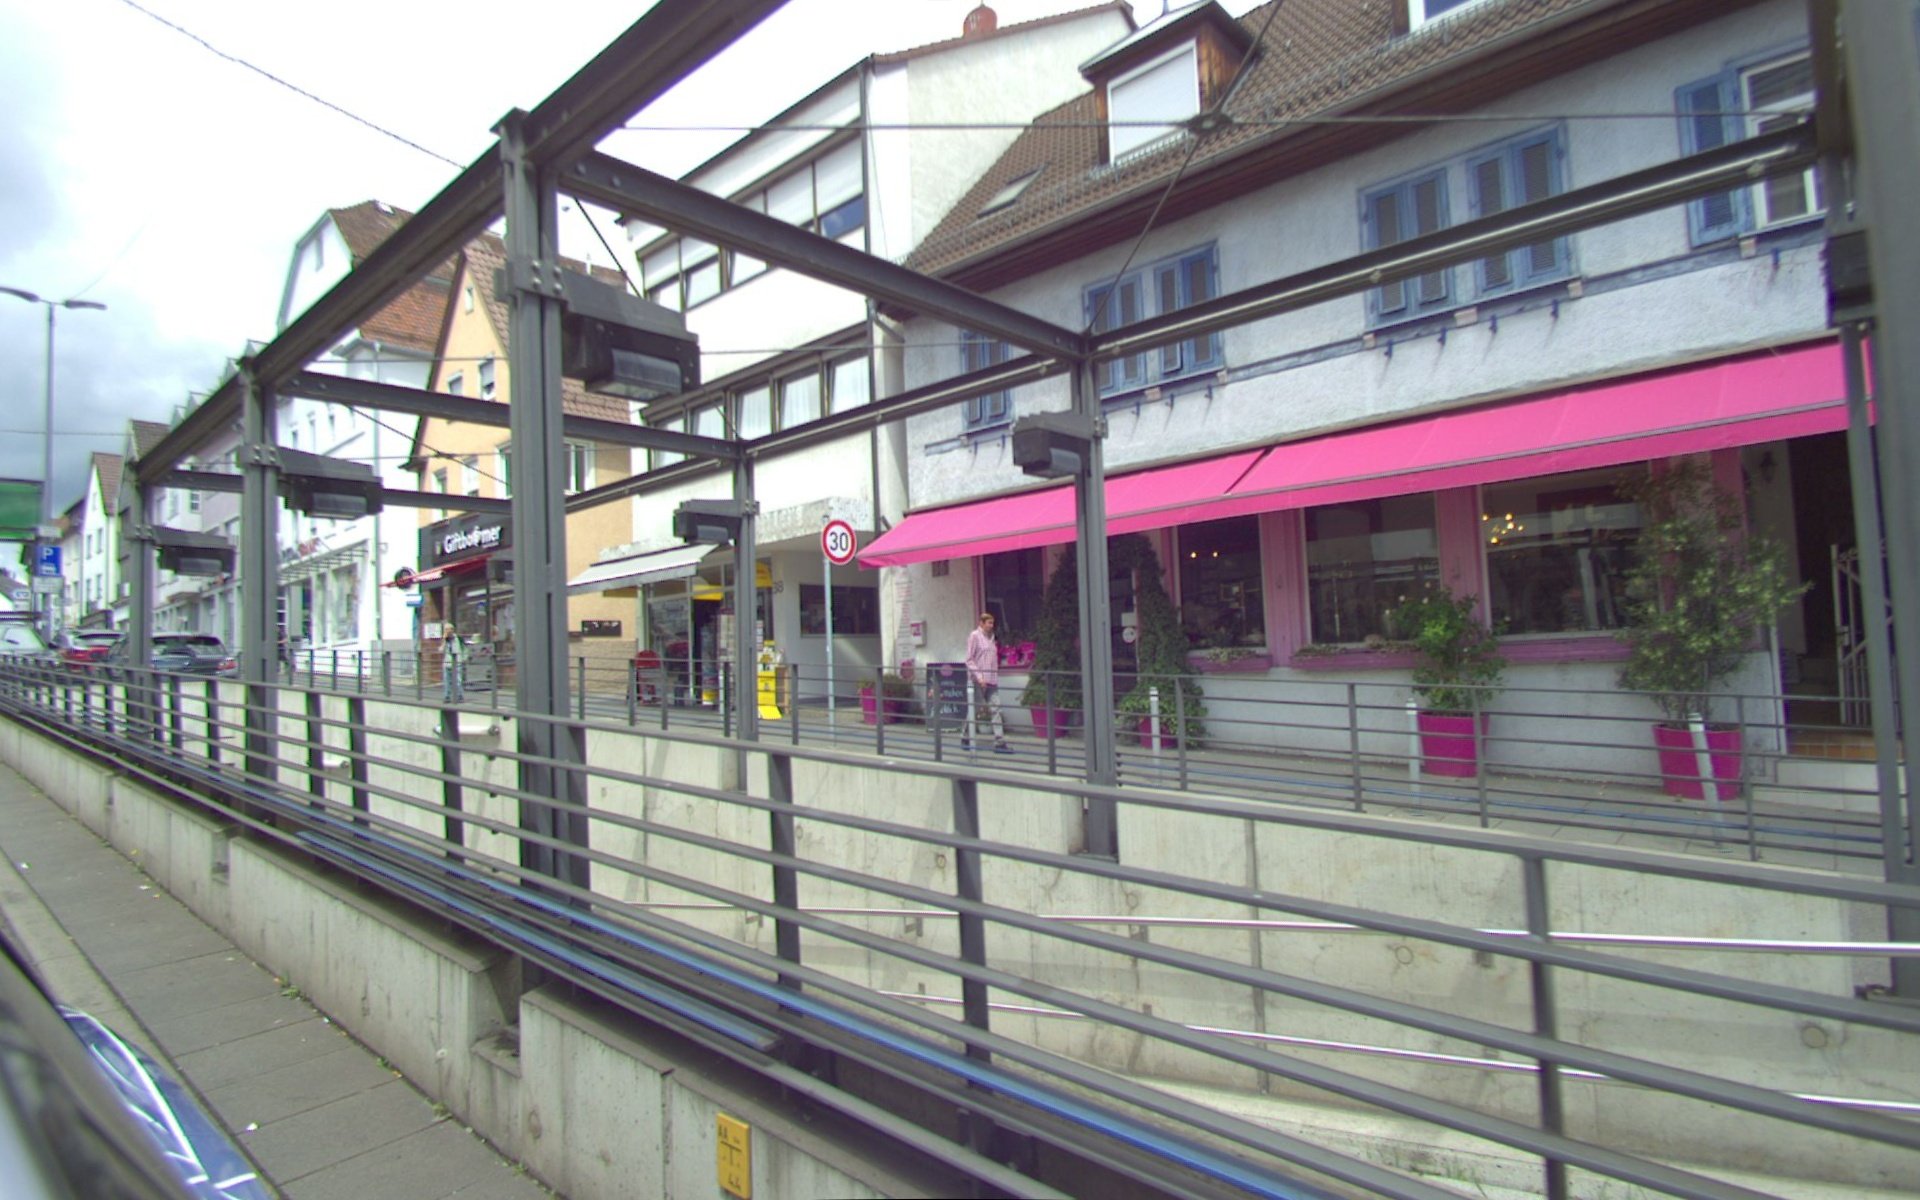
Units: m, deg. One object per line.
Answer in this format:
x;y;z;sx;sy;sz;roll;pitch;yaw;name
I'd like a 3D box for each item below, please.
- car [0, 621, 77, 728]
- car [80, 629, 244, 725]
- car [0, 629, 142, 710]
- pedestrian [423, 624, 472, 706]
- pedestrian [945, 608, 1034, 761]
-16.187;1.191;16.520;4.427;1.578;1.974;-2;-1;39;car
-14.810;1.353;18.715;3.896;1.559;1.681;-2;-1;41;car
-20.362;1.516;23.019;4.492;1.601;1.973;-2;-1;41;car
-11.066;1.391;21.860;0.663;1.727;0.739;-2;-3;41;pedestrian
0.352;0.994;12.217;0.825;1.753;0.686;-3;-3;43;pedestrian
